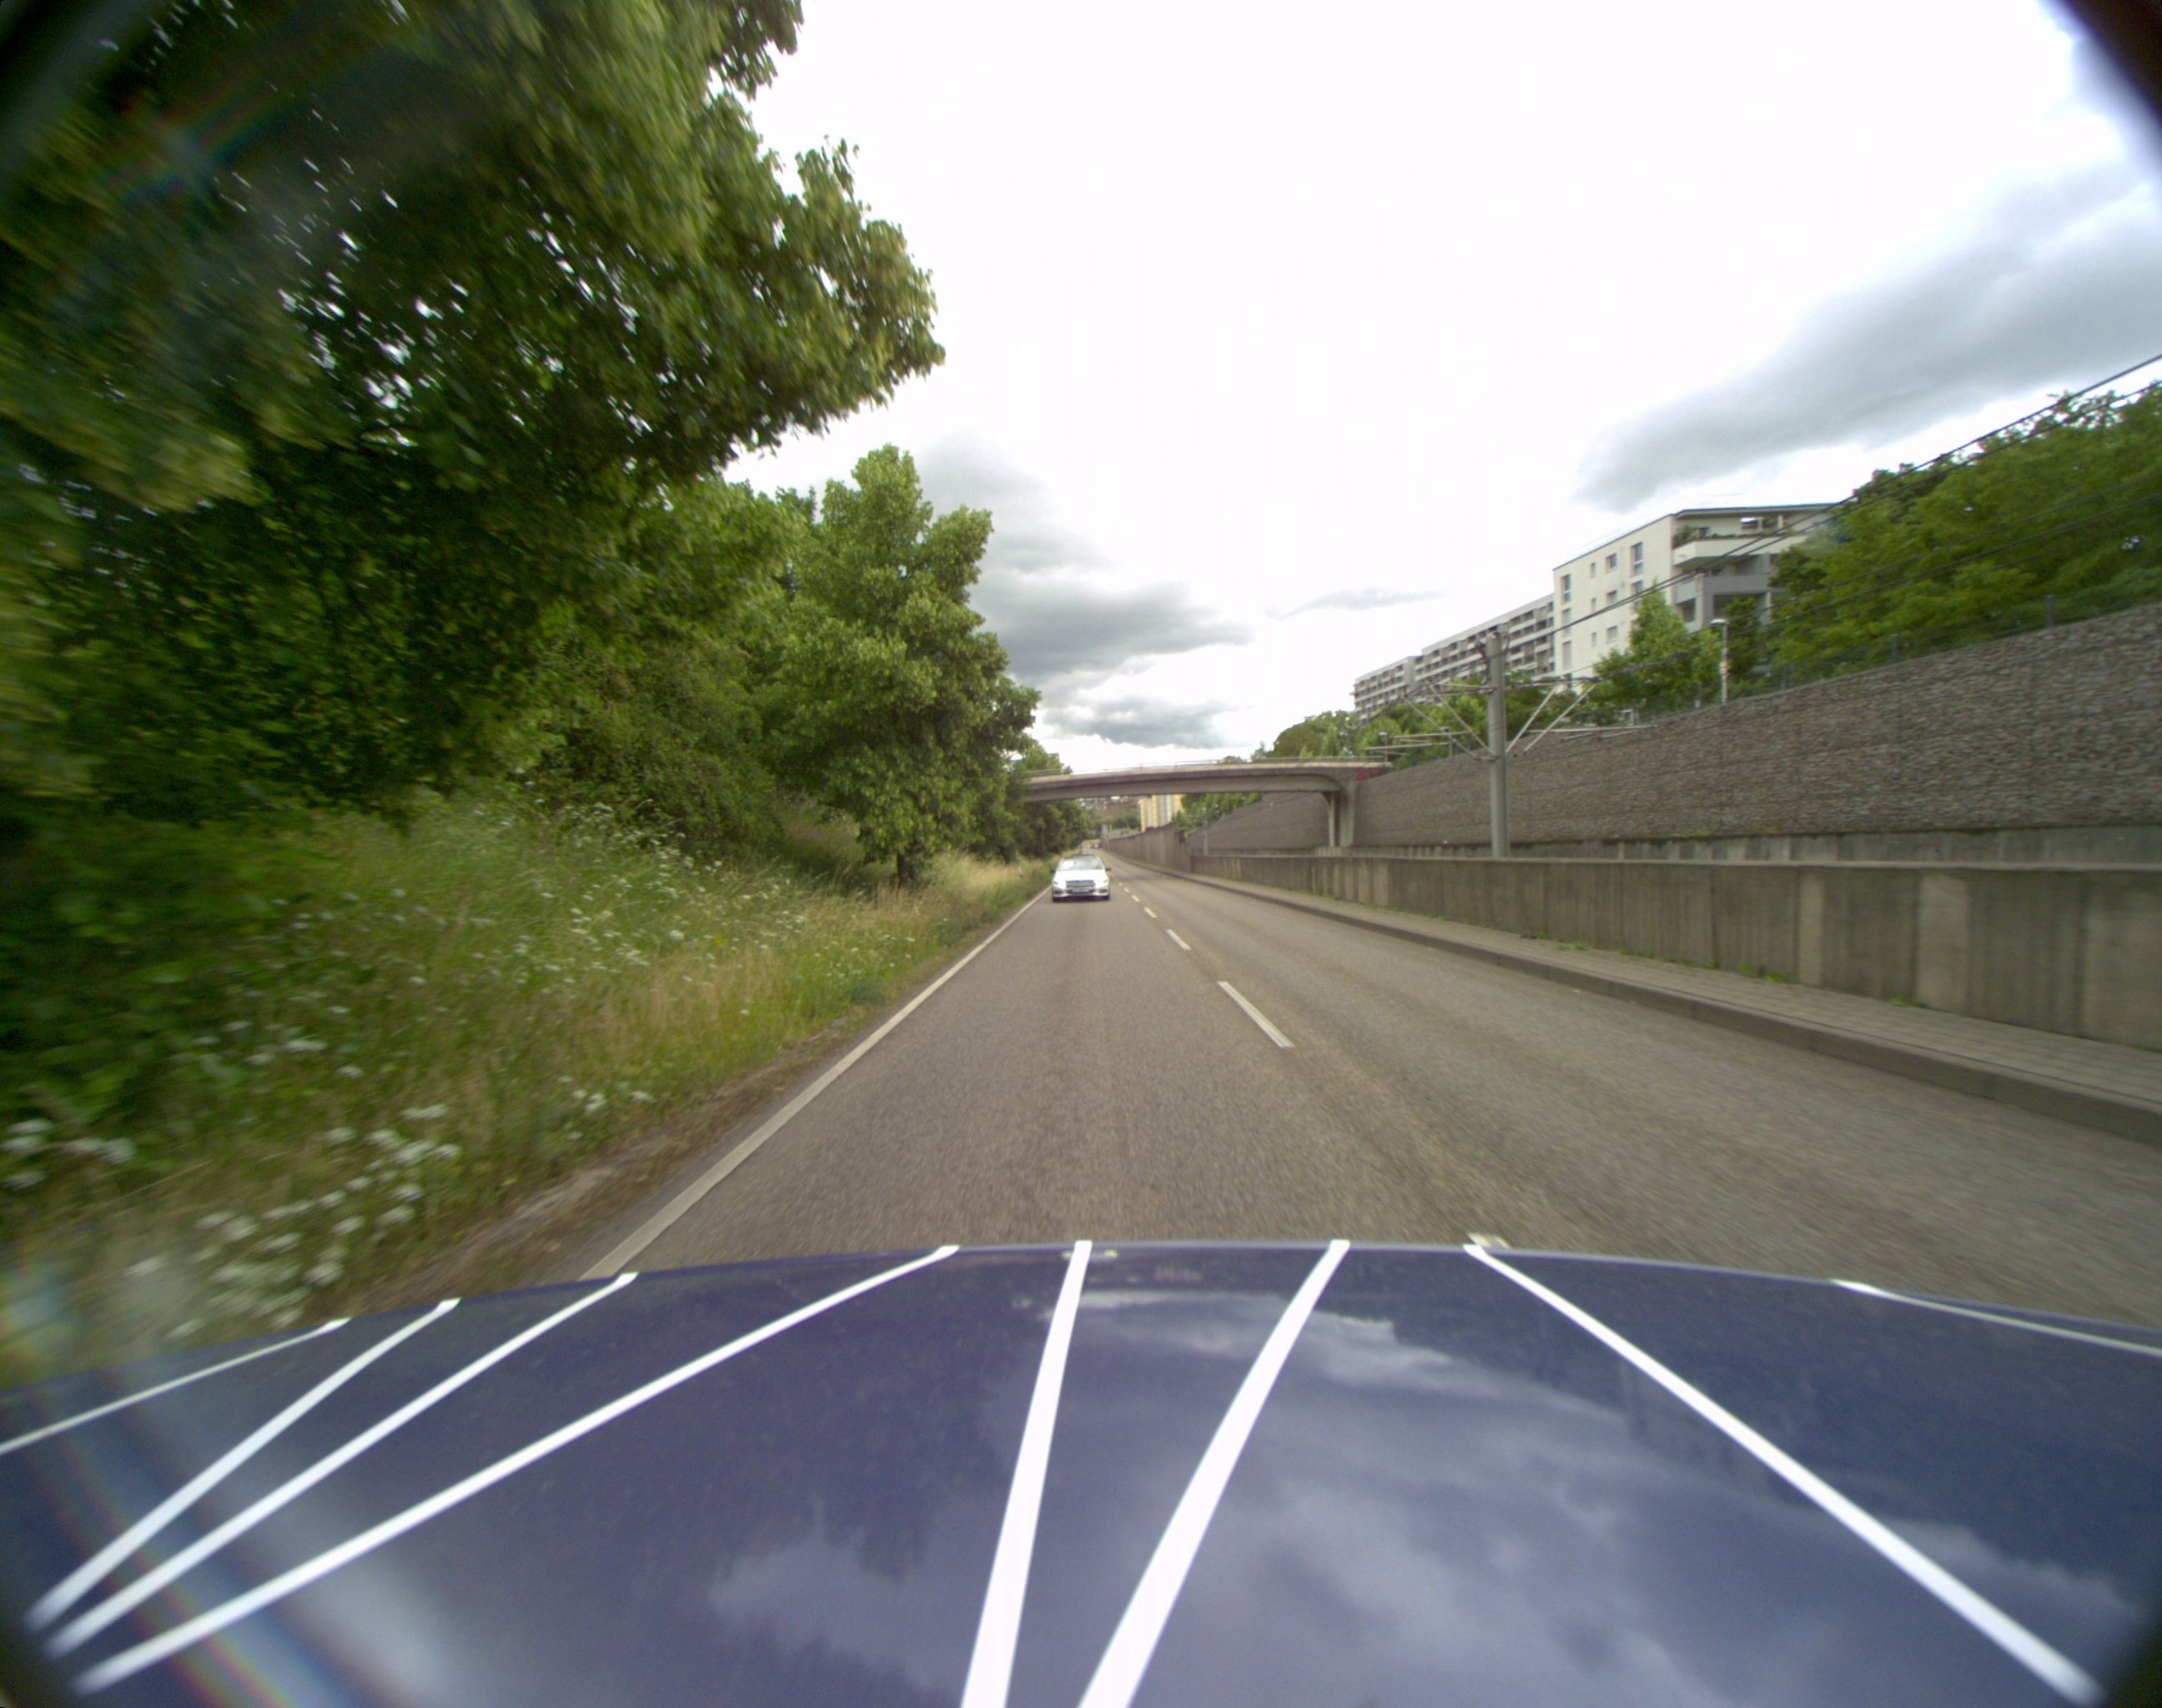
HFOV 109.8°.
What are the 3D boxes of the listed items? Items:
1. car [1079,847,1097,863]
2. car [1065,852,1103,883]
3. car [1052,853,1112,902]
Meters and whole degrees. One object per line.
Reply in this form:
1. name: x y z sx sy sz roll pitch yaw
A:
1. car: 0.845 0.100 91.910 1.998 1.746 4.000 -2 1 1
2. car: 0.181 0.686 41.289 1.878 1.459 3.999 -2 1 1
3. car: 0.072 0.750 26.035 1.842 1.499 4.161 -2 0 1
